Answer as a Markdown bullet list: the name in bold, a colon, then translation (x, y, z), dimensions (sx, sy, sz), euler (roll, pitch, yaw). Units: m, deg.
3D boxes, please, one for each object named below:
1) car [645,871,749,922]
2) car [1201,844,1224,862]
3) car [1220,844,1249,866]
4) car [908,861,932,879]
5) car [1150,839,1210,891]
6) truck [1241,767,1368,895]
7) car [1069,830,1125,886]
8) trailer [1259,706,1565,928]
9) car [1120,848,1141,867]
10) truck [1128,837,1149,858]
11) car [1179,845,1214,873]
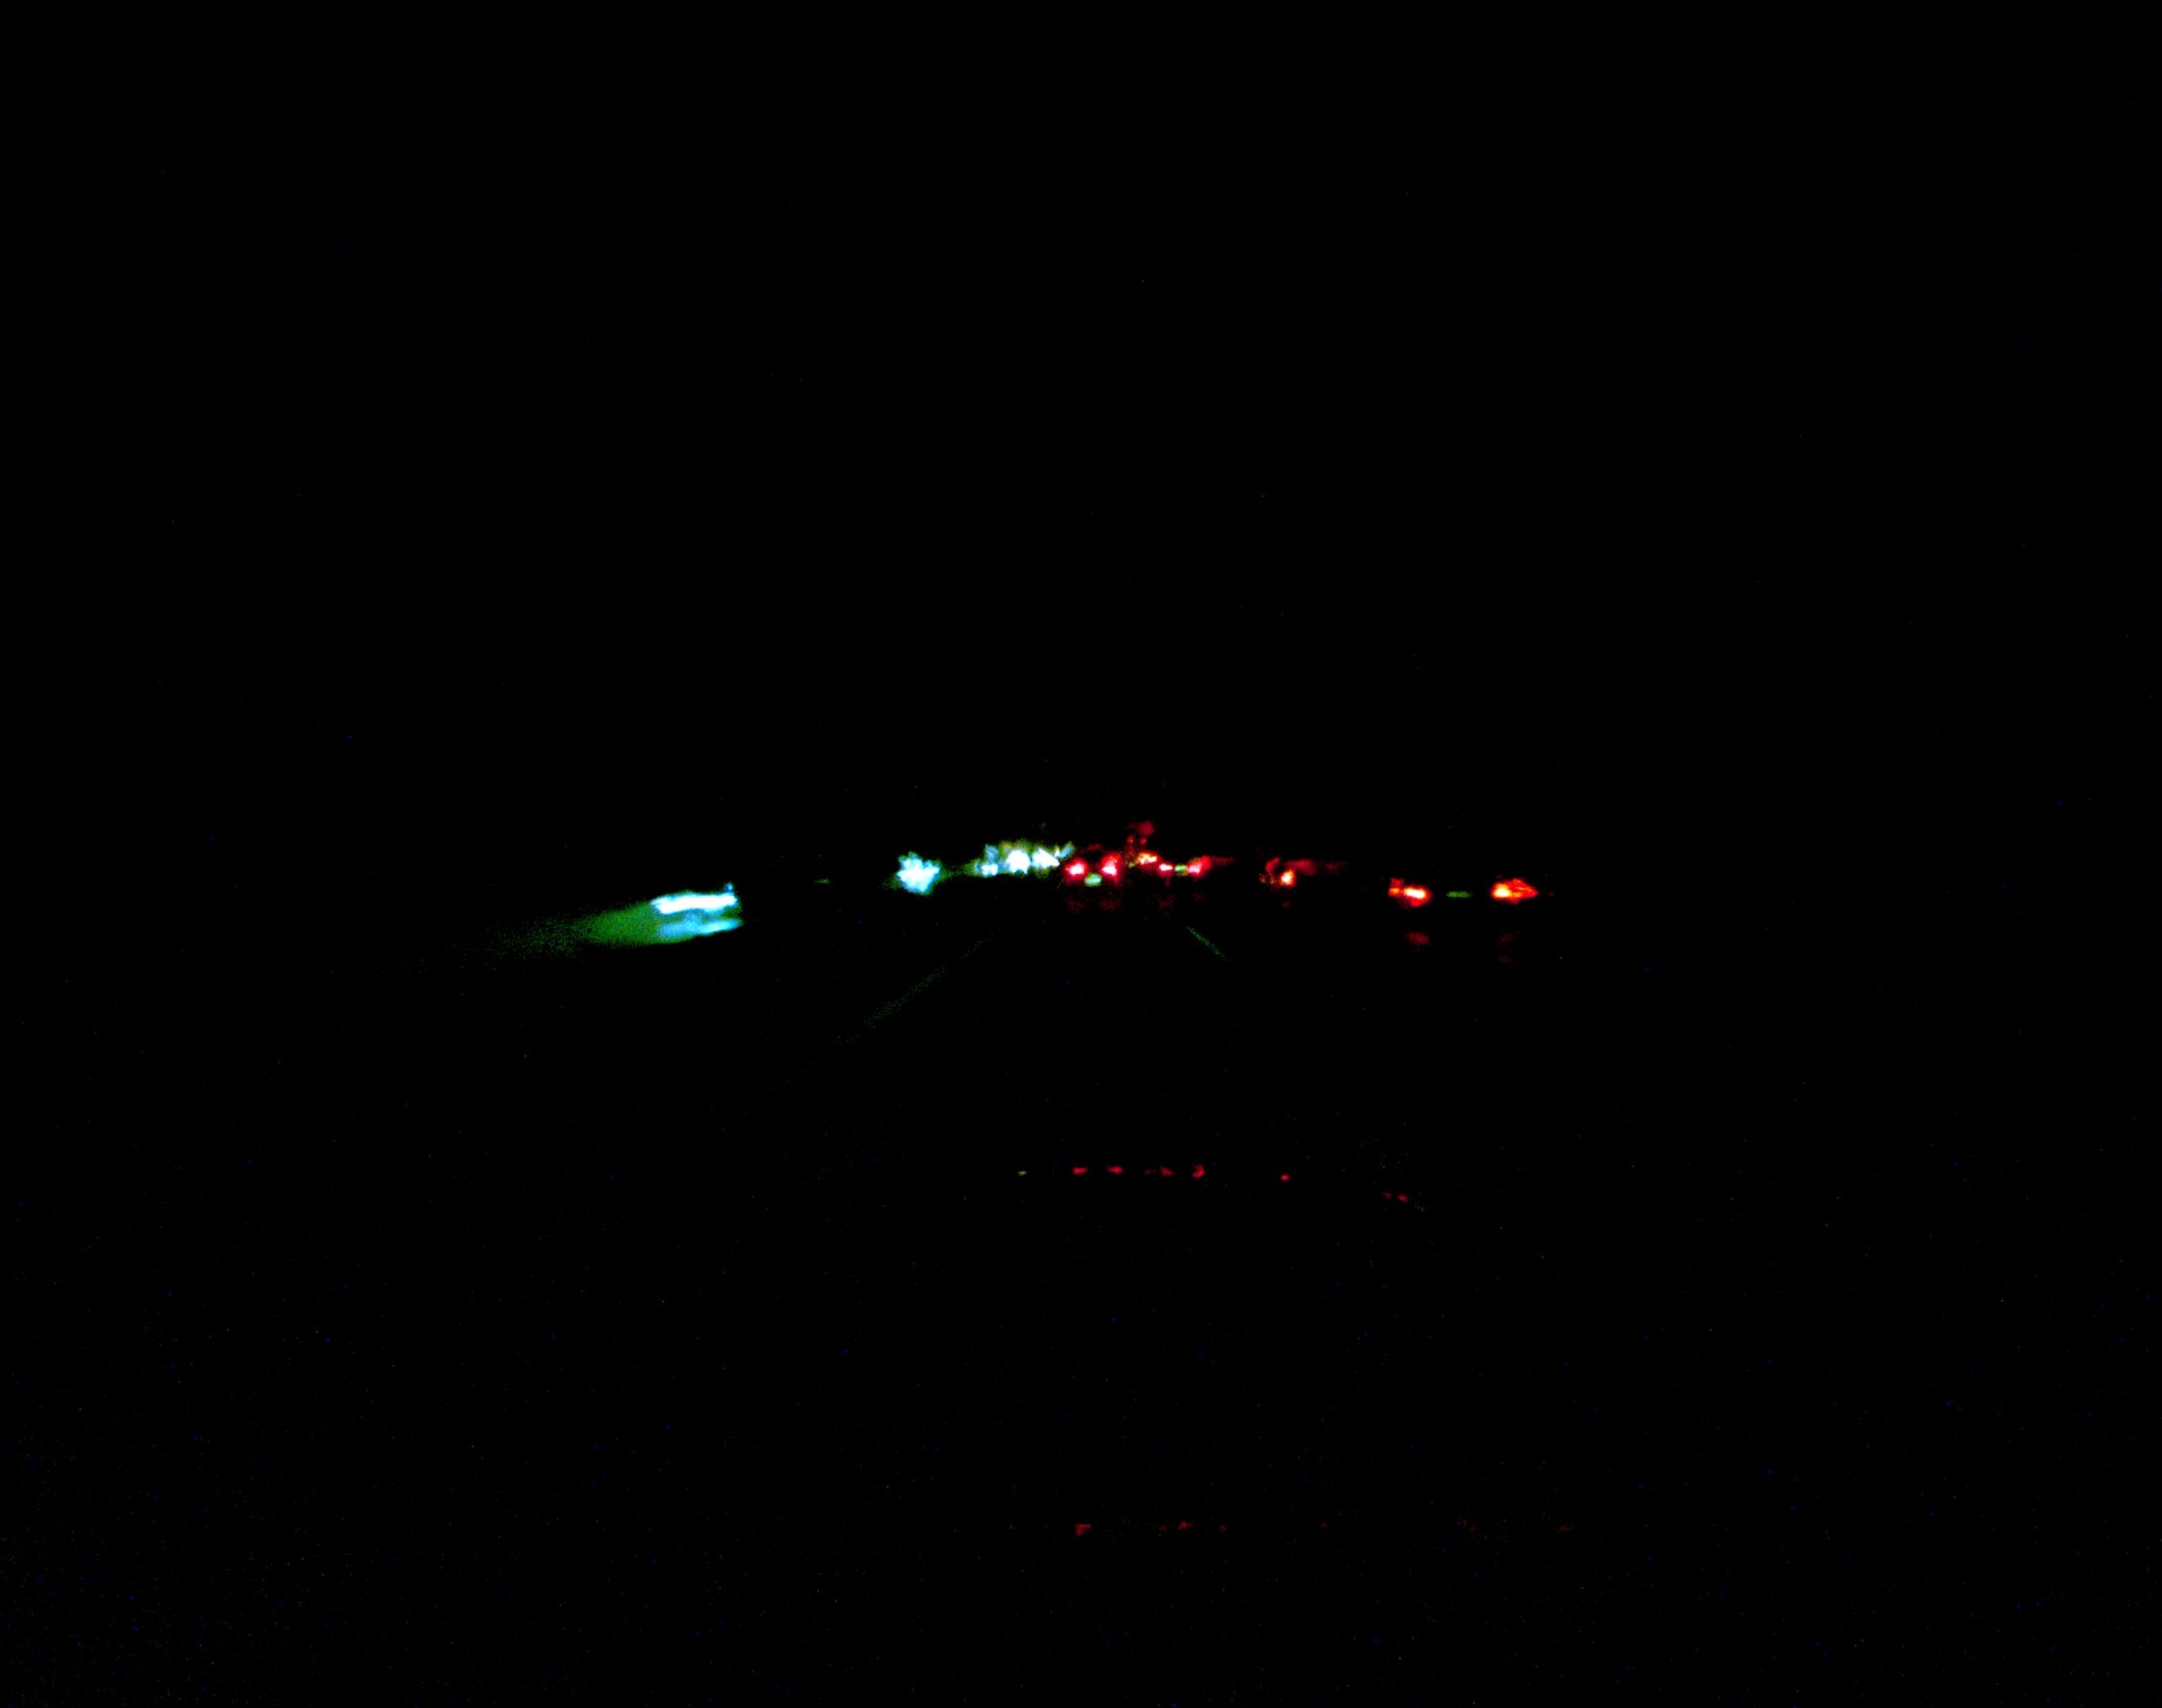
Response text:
- **car**: translation (-16.060, 1.717, 34.407), dimensions (1.987, 1.761, 4.958), euler (-3, 0, 0)
- **car**: translation (15.850, -0.077, 98.105), dimensions (1.987, 2.013, 3.999), euler (-3, 0, 0)
- **car**: translation (14.688, 0.079, 78.086), dimensions (1.987, 2.013, 3.999), euler (-3, 0, 0)
- **car**: translation (-19.182, 1.880, 97.054), dimensions (1.987, 2.013, 3.999), euler (-3, 0, 0)
- **car**: translation (4.141, 0.436, 34.699), dimensions (1.987, 2.013, 3.999), euler (-3, 0, 0)
- **truck**: translation (8.050, -0.779, 30.172), dimensions (3.030, 4.108, 5.800), euler (-3, 0, 1)
- **car**: translation (0.617, 0.127, 31.168), dimensions (1.986, 2.013, 4.001), euler (0, 0, 1)
- **trailer**: translation (7.857, -0.736, 22.544), dimensions (3.030, 4.108, 13.833), euler (-3, 0, 2)
- **car**: translation (5.452, 0.370, 90.691), dimensions (1.987, 2.013, 3.999), euler (-3, 0, 0)
- **truck**: translation (9.879, -1.129, 141.690), dimensions (3.026, 3.297, 11.385), euler (-3, 0, 2)
- **car**: translation (8.960, 0.341, 63.434), dimensions (1.987, 2.013, 3.999), euler (-3, 0, 0)
